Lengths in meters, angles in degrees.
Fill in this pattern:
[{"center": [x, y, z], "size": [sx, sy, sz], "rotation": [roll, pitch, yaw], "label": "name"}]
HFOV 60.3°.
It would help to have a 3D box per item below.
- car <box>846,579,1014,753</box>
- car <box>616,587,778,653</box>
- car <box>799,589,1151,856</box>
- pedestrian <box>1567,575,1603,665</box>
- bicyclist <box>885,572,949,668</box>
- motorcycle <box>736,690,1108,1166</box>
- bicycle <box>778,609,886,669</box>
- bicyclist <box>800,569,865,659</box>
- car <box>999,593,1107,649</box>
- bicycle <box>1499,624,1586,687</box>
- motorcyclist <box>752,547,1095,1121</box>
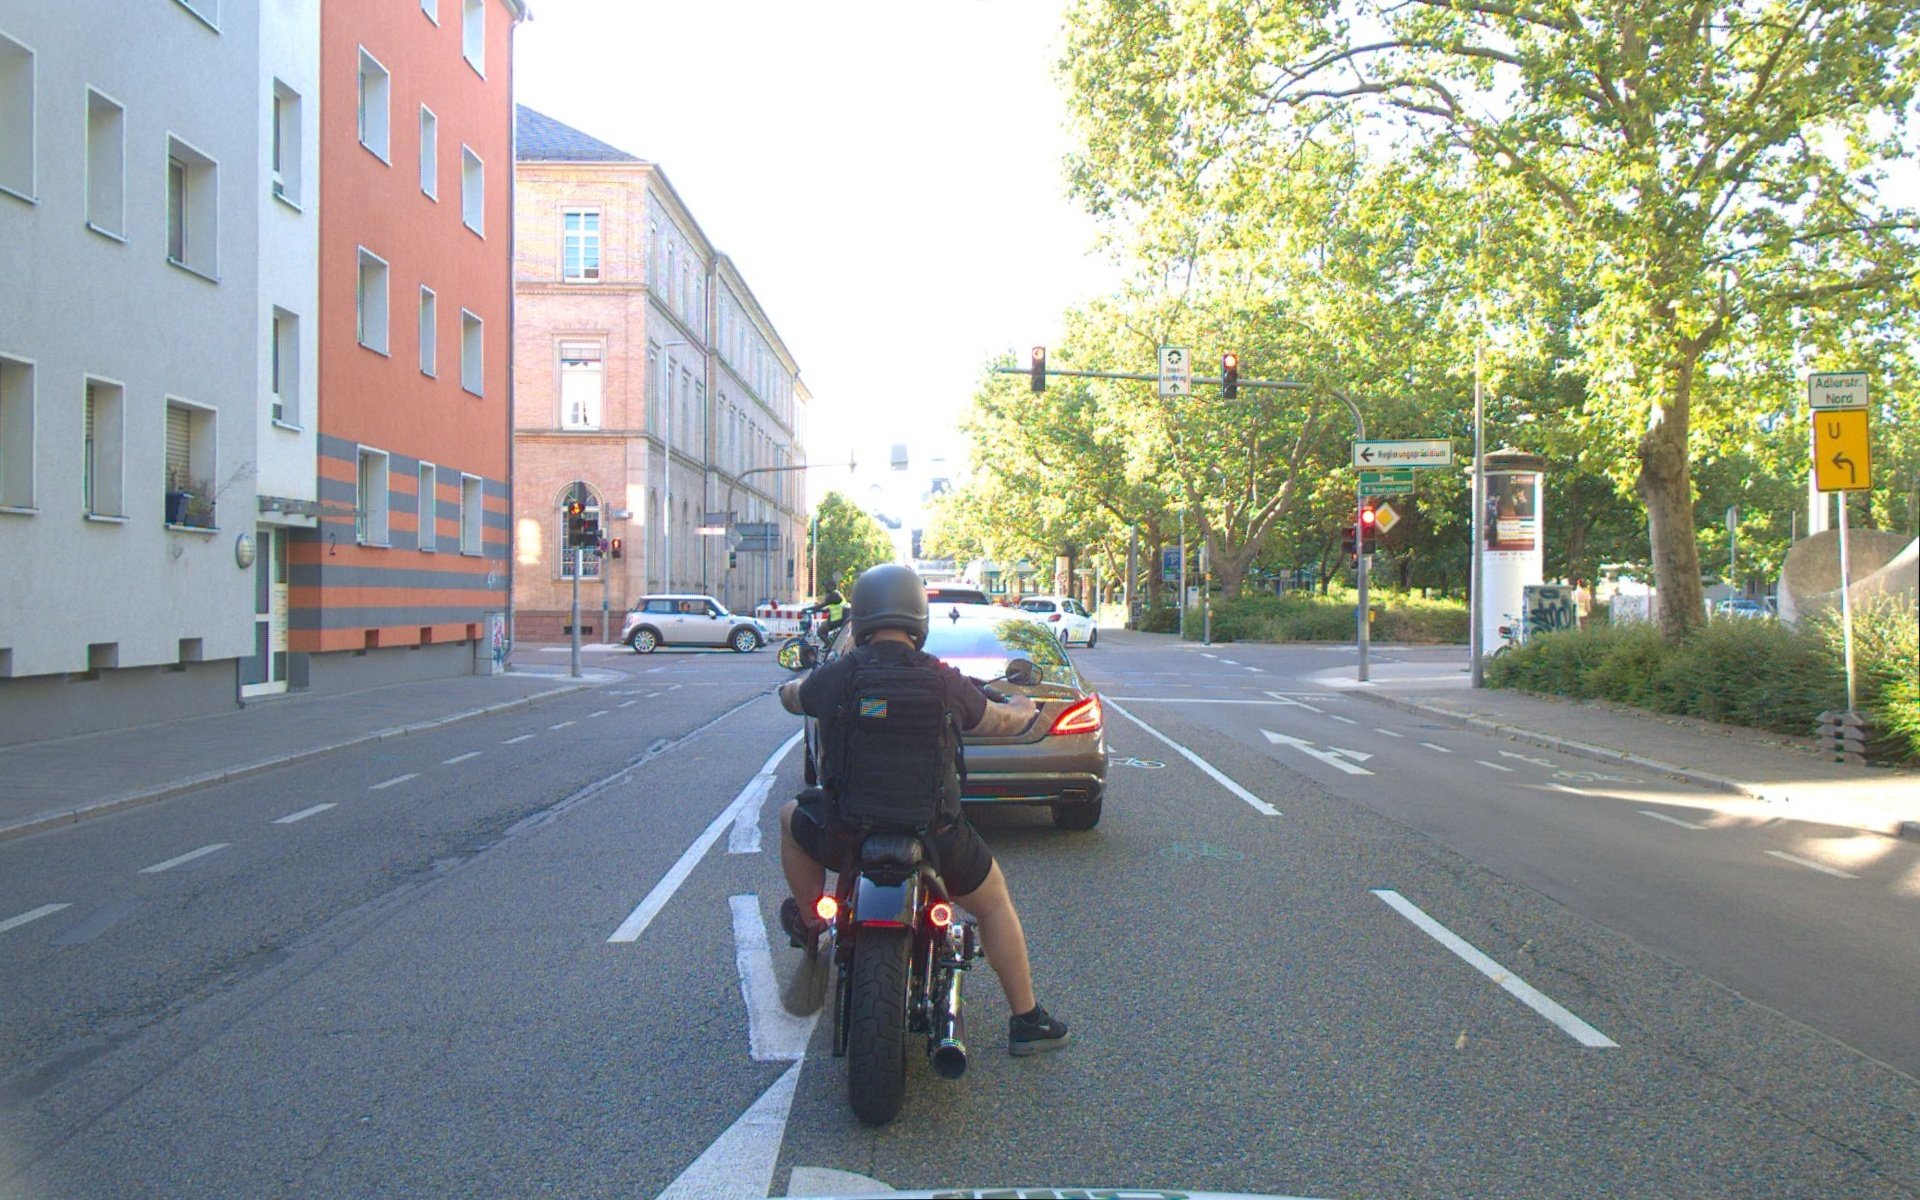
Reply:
[{"center": [-0.334, 0.616, 17.754], "size": [1.580, 1.636, 4.327], "rotation": [0, 0, -2], "label": "car"}, {"center": [-6.551, 0.480, 41.067], "size": [3.829, 1.506, 1.821], "rotation": [-1, 0, -14], "label": "car"}, {"center": [-0.112, 0.681, 11.591], "size": [1.909, 1.498, 4.355], "rotation": [0, 0, -7], "label": "car"}, {"center": [13.274, 0.422, 35.155], "size": [0.540, 1.881, 0.593], "rotation": [0, 0, 0], "label": "pedestrian"}, {"center": [-0.782, 0.353, 29.991], "size": [0.948, 1.722, 0.701], "rotation": [0, 0, 43], "label": "bicyclist"}, {"center": [-0.117, 0.923, 5.551], "size": [0.969, 1.097, 2.451], "rotation": [0, 0, -1], "label": "motorcycle"}, {"center": [-2.502, 0.756, 32.190], "size": [2.118, 1.123, 0.703], "rotation": [-1, -1, 34], "label": "bicycle"}, {"center": [-2.483, 0.274, 32.172], "size": [1.026, 1.724, 0.703], "rotation": [-1, -1, 34], "label": "bicyclist"}, {"center": [2.739, 0.600, 47.886], "size": [1.819, 1.512, 3.905], "rotation": [1, 0, 25], "label": "car"}, {"center": [9.745, 0.922, 27.684], "size": [1.324, 1.041, 0.363], "rotation": [0, 0, 0], "label": "bicycle"}, {"center": [-0.112, 0.660, 5.397], "size": [0.969, 1.625, 1.403], "rotation": [0, 0, -1], "label": "motorcyclist"}]
